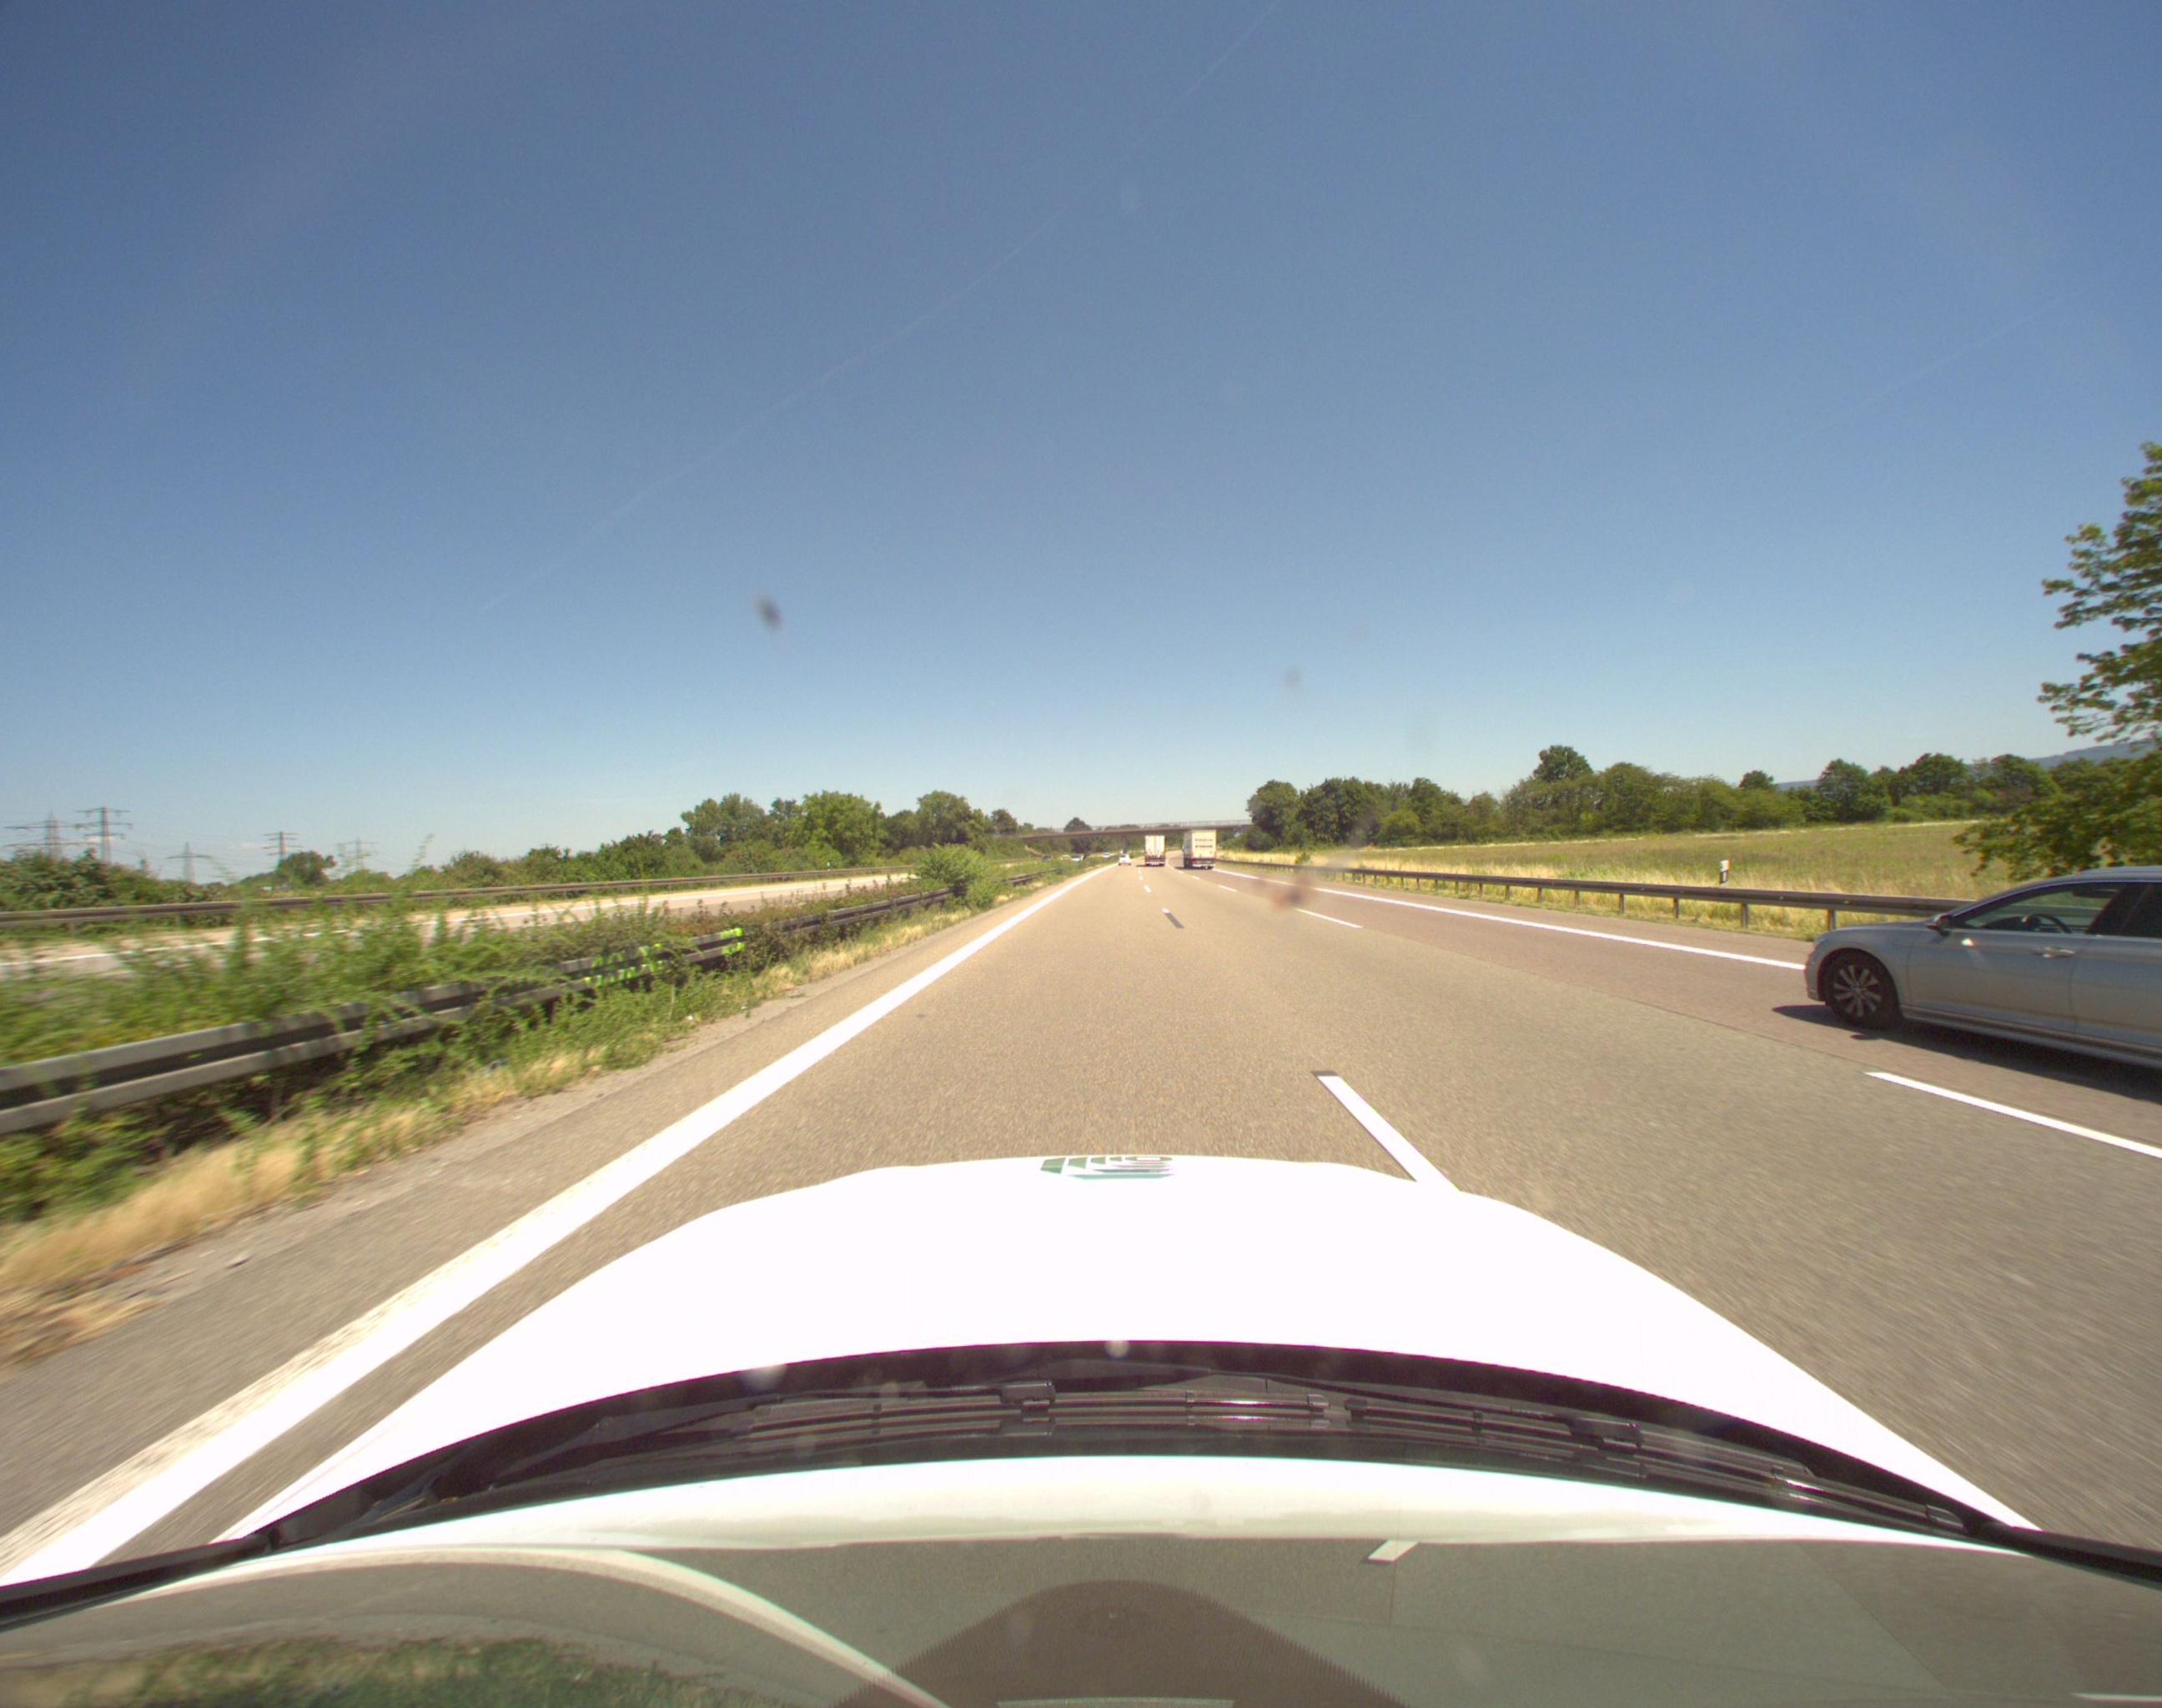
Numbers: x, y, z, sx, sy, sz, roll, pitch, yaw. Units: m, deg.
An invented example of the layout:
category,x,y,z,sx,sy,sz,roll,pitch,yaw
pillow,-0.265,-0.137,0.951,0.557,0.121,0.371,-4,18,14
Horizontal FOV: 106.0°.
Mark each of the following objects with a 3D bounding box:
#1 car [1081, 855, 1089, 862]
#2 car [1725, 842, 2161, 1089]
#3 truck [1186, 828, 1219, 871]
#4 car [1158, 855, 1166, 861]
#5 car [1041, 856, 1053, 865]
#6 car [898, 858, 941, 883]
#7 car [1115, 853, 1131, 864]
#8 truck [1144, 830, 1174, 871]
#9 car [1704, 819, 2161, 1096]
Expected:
category,x,y,z,sx,sy,sz,roll,pitch,yaw
car,0.977,1.115,190.779,1.637,1.561,4.072,-1,-1,5
car,7.608,0.681,5.837,1.880,1.515,5.382,0,0,2
truck,13.379,-0.525,90.394,3.163,4.304,16.052,-1,1,8
car,21.054,1.113,210.336,1.817,1.547,4.330,0,0,9
car,-6.336,1.146,153.016,1.775,1.661,4.661,-1,0,3
car,-11.528,1.148,58.530,1.986,1.688,4.505,-1,-1,2
car,6.054,0.616,115.759,1.817,1.547,4.330,0,0,9
truck,10.255,-0.500,108.778,3.649,5.018,16.038,-1,1,4
car,7.581,0.596,5.861,2.038,1.658,5.511,-2,1,1
